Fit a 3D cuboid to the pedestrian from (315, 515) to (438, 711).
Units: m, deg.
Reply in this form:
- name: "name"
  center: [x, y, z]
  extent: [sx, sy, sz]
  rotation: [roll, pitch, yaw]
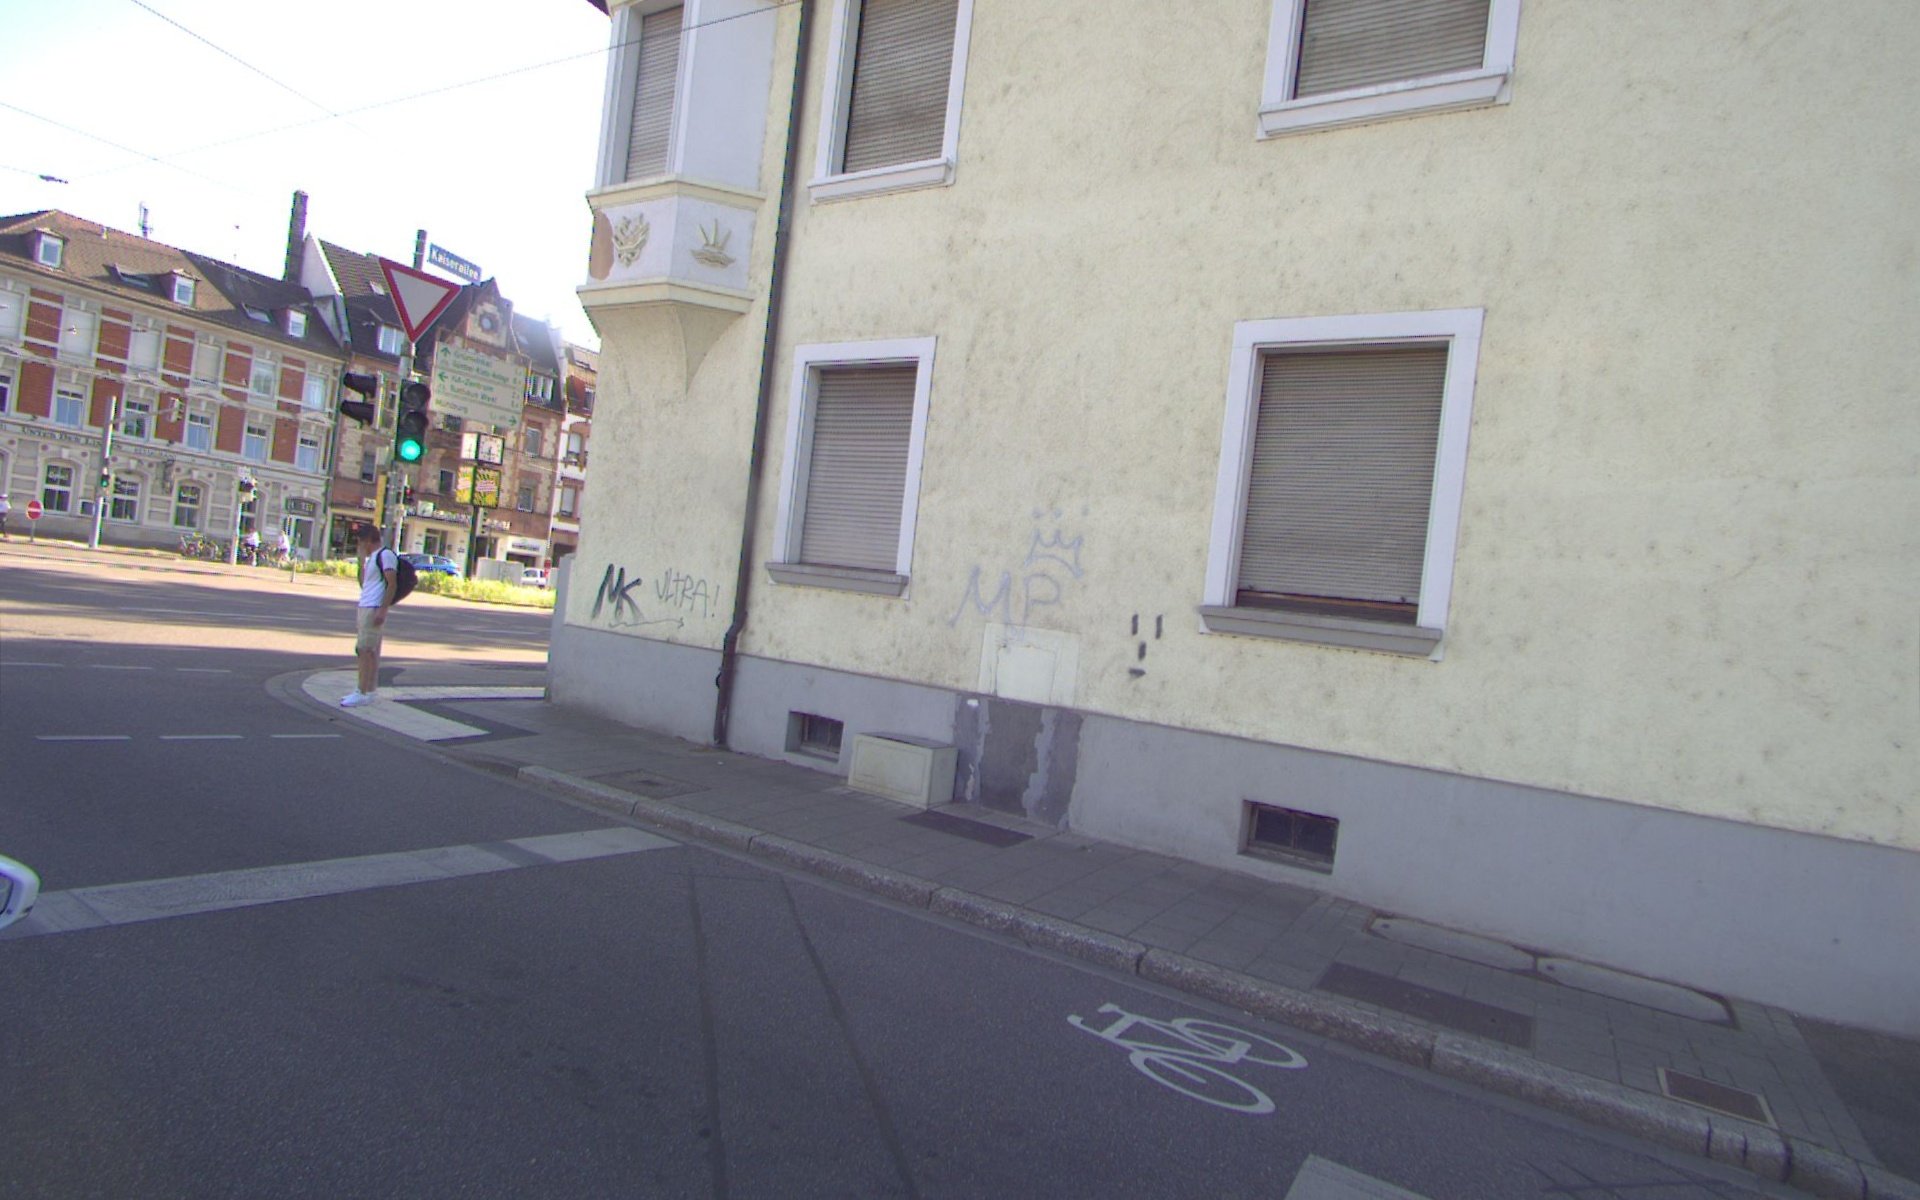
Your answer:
- name: "pedestrian"
  center: [-5.588, 0.121, 9.659]
  extent: [0.661, 1.763, 0.689]
  rotation: [5, 2, 4]
